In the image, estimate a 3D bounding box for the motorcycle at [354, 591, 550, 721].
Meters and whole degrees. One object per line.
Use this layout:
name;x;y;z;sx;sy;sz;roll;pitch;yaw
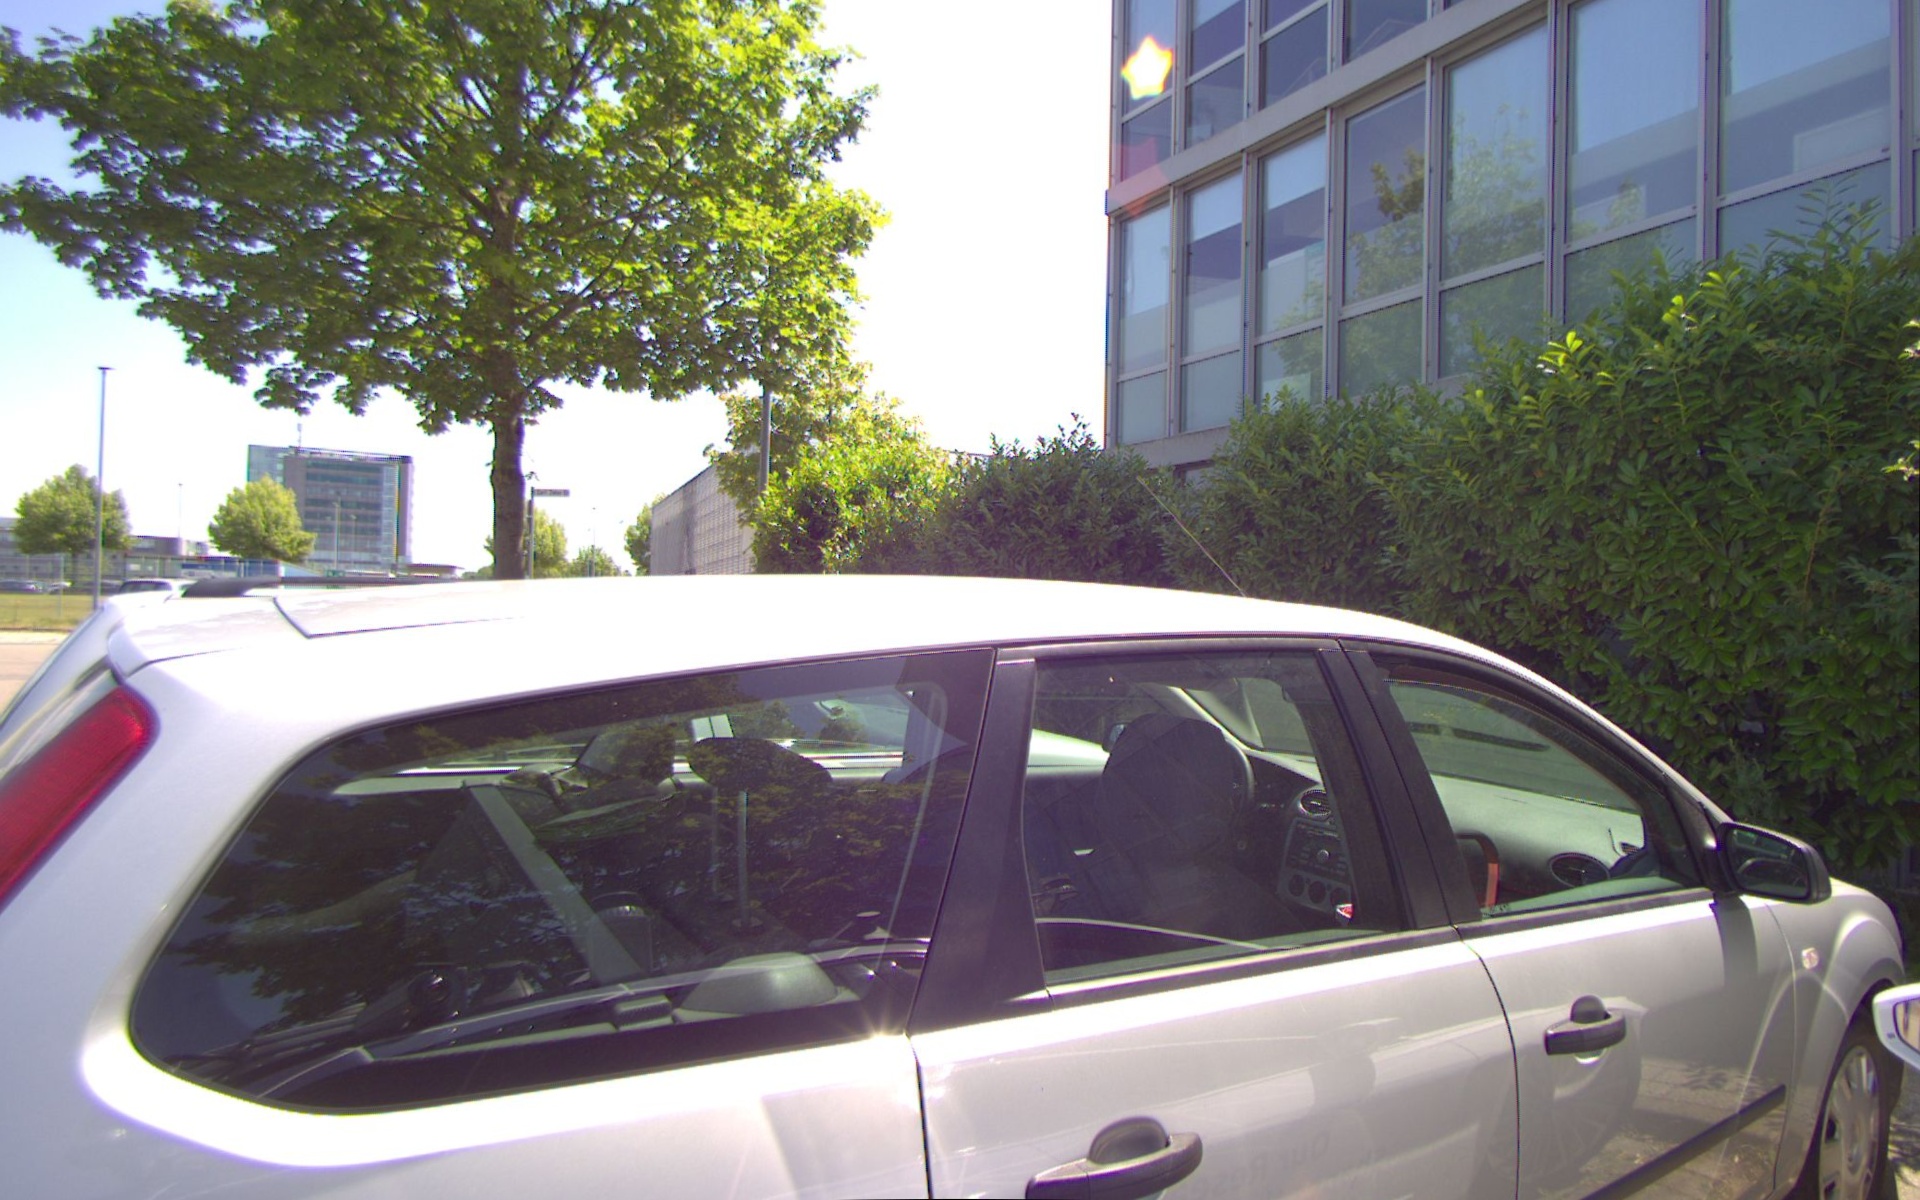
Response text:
motorcycle;-5.844;0.617;11.617;1.969;1.408;0.480;1;0;-34

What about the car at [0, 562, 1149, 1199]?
car;-1.272;0.691;3.763;3.851;1.499;1.637;1;0;-34

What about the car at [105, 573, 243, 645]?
car;-21.141;0.228;27.207;1.745;1.761;3.982;1;0;-20

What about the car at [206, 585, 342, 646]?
car;-18.721;0.398;27.623;1.624;1.542;3.991;1;0;-11

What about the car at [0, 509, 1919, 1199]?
car;0.379;0.726;2.146;4.299;1.499;1.710;1;0;-31

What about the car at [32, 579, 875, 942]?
car;-2.580;0.682;5.819;3.851;1.468;1.637;1;0;-34
